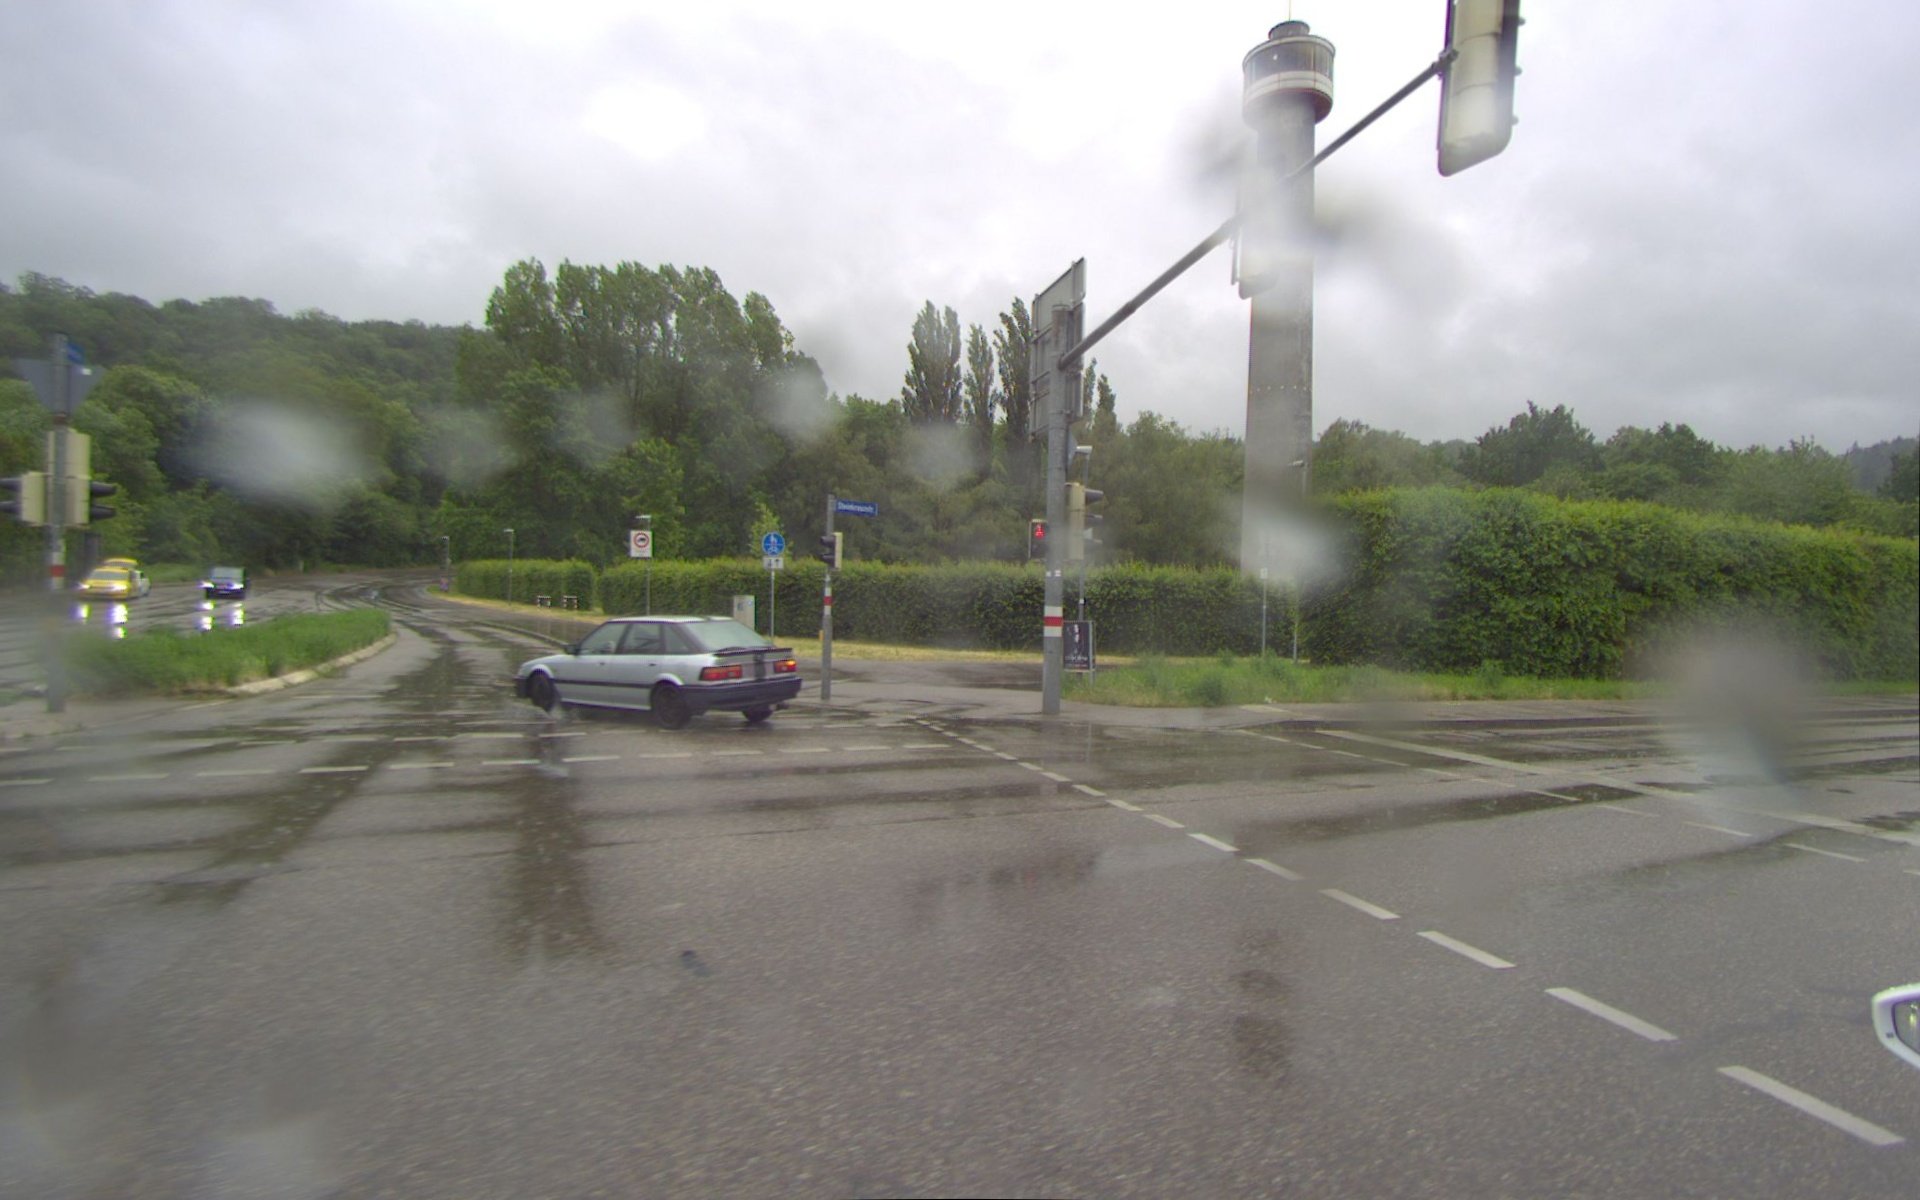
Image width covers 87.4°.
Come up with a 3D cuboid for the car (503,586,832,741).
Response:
[{"bbox_3d":[-3.938,0.718,13.446,3.993,1.731,2.039,1,1,30],"label":"car"}]

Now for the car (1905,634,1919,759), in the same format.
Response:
[{"bbox_3d":[13.885,1.238,12.651,4.012,1.525,1.777,2,0,-30],"label":"car"}]

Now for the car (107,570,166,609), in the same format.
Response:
[{"bbox_3d":[-45.470,-0.563,55.531,1.791,2.040,3.656,1,0,-28],"label":"car"}]

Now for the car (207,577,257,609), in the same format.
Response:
[{"bbox_3d":[-43.623,-0.412,60.238,1.809,1.840,3.971,1,0,-27],"label":"car"}]

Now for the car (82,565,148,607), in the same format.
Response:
[{"bbox_3d":[-43.461,-0.729,51.759,1.791,2.054,3.657,1,1,-27],"label":"car"}]
